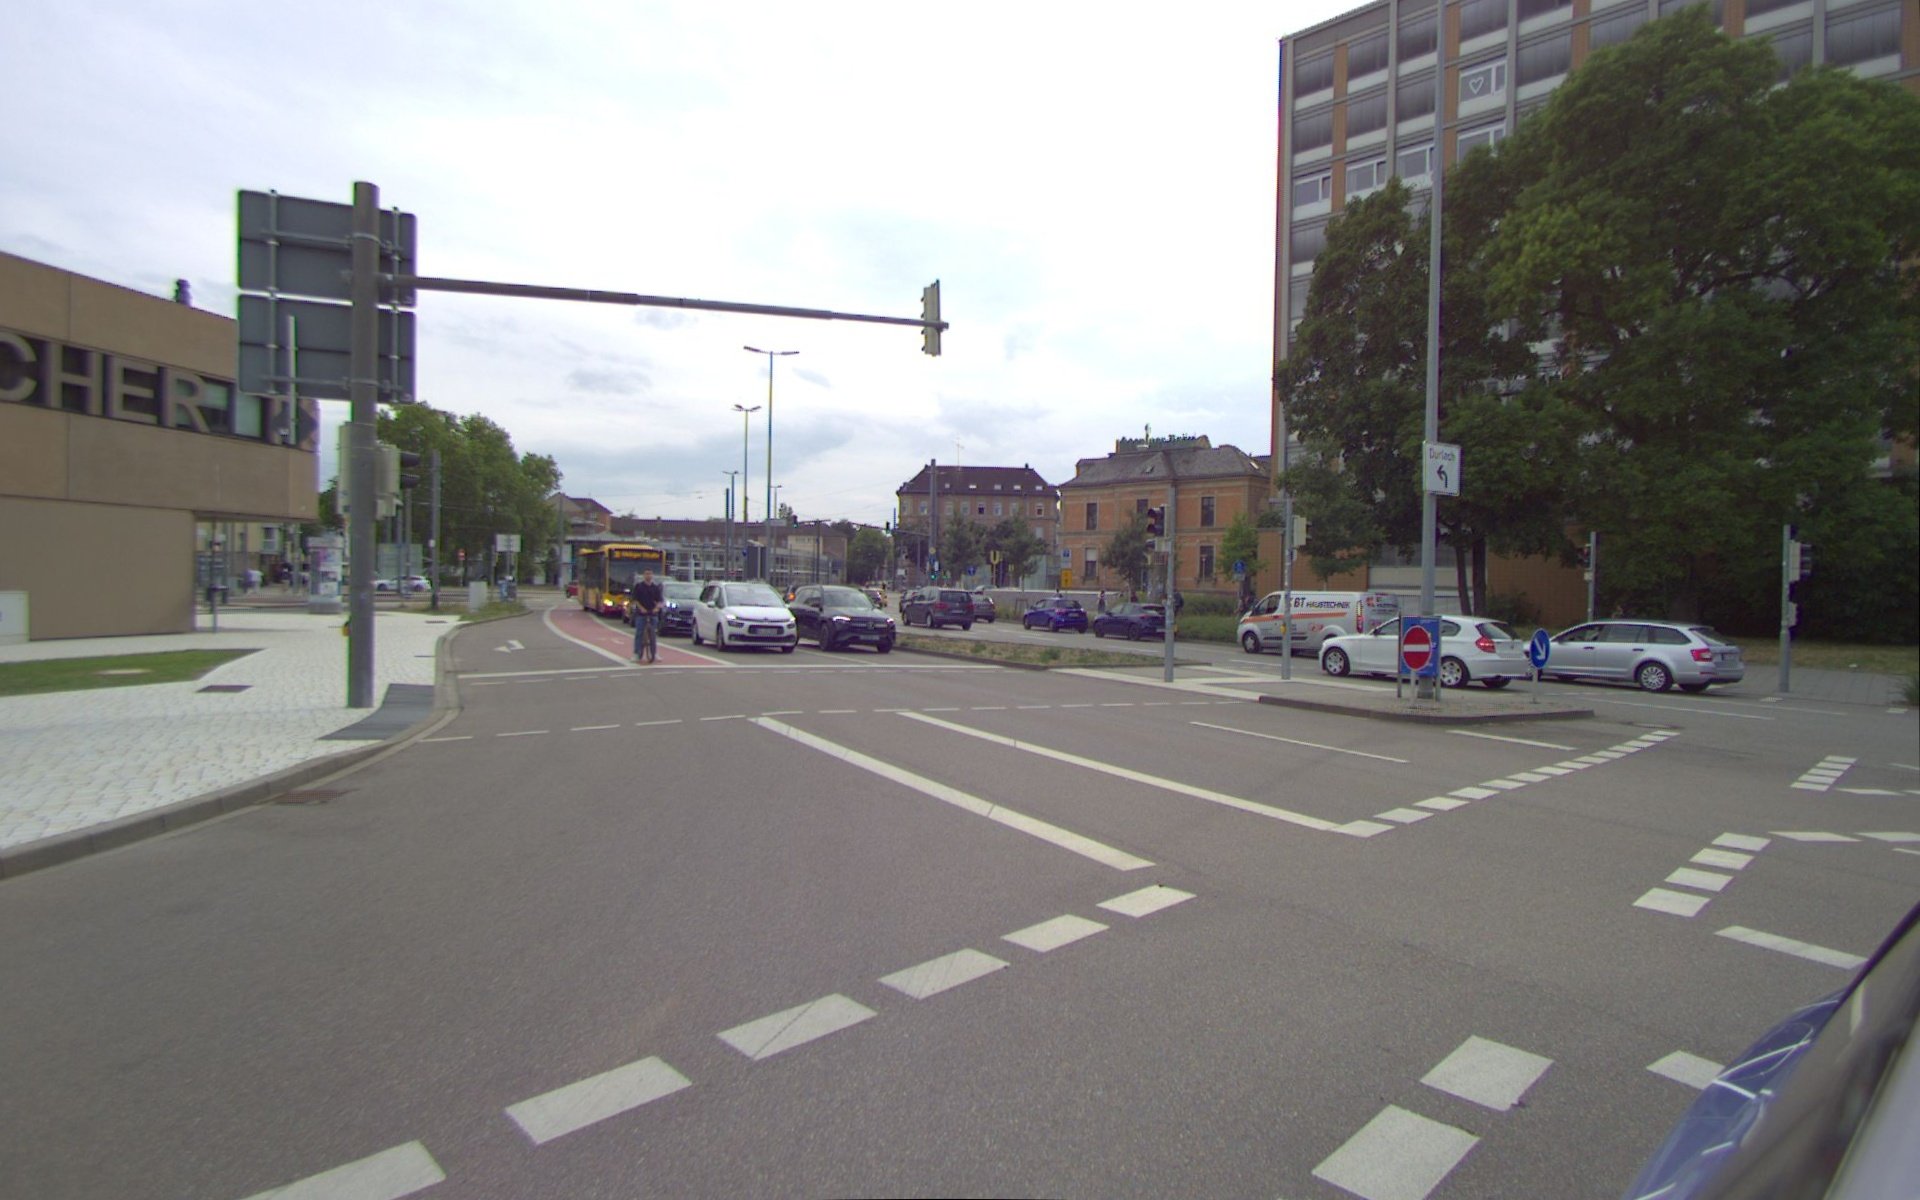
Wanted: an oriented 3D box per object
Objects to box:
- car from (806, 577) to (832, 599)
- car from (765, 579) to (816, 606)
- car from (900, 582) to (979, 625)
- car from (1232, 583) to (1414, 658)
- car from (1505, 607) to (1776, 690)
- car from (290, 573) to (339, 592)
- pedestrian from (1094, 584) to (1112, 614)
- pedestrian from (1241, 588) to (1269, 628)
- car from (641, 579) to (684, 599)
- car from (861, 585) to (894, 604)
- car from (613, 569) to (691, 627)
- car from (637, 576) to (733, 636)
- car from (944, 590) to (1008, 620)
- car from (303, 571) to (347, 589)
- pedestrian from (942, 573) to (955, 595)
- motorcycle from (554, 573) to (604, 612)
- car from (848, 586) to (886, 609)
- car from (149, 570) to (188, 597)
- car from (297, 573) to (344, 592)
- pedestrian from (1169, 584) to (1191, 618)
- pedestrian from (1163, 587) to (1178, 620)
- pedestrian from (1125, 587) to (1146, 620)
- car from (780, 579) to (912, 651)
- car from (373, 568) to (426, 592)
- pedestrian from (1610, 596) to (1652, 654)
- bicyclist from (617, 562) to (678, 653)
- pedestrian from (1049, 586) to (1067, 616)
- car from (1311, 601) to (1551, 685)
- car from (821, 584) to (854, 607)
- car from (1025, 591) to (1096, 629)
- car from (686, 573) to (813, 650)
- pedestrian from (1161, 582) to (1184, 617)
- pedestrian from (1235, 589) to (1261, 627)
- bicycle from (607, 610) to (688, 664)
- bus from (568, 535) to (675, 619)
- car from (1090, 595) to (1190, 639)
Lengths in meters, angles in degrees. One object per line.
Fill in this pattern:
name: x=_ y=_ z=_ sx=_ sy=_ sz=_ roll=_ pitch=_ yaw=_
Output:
car: x=-10.022 y=-0.821 z=71.805 sx=1.665 sy=1.422 sz=3.706 roll=2 pitch=-1 yaw=-10
car: x=-9.756 y=-0.449 z=58.240 sx=1.639 sy=1.508 sz=3.443 roll=2 pitch=0 yaw=-33
car: x=-0.942 y=0.121 z=42.676 sx=1.723 sy=1.672 sz=4.695 roll=3 pitch=-1 yaw=-22
car: x=10.534 y=0.531 z=29.828 sx=1.788 sy=1.984 sz=5.213 roll=3 pitch=-1 yaw=-27
car: x=14.535 y=0.984 z=21.924 sx=1.788 sy=1.493 sz=4.533 roll=3 pitch=-1 yaw=-30
car: x=-64.757 y=-1.764 z=101.595 sx=3.918 sy=1.705 sz=1.607 roll=3 pitch=-1 yaw=-29
pedestrian: x=7.906 y=-0.069 z=55.955 sx=0.764 sy=1.593 sz=0.814 roll=0 pitch=1 yaw=-15
pedestrian: x=12.002 y=0.303 z=41.212 sx=0.764 sy=1.593 sz=0.814 roll=-1 pitch=1 yaw=-19
car: x=-26.600 y=-0.979 z=90.353 sx=3.522 sy=1.635 sz=1.817 roll=2 pitch=-1 yaw=34
car: x=-6.800 y=-0.452 z=82.985 sx=1.673 sy=1.438 sz=3.708 roll=2 pitch=-1 yaw=-21
car: x=-11.279 y=-0.095 z=36.917 sx=1.959 sy=1.923 sz=4.297 roll=3 pitch=-1 yaw=-27
car: x=-8.510 y=0.167 z=31.041 sx=1.959 sy=1.672 sz=4.297 roll=3 pitch=-1 yaw=-27
car: x=0.823 y=0.241 z=53.600 sx=2.094 sy=1.438 sz=3.708 roll=2 pitch=-1 yaw=-21
car: x=-70.077 y=-2.201 z=111.781 sx=3.918 sy=1.705 sz=1.607 roll=3 pitch=-1 yaw=-29
pedestrian: x=-0.833 y=-1.169 z=72.440 sx=0.764 sy=1.593 sz=0.814 roll=0 pitch=1 yaw=-15
motorcycle: x=-21.287 y=-0.422 z=56.453 sx=1.959 sy=2.039 sz=4.005 roll=3 pitch=-1 yaw=-29
car: x=-6.256 y=-0.166 z=67.697 sx=1.680 sy=1.438 sz=4.008 roll=2 pitch=-1 yaw=-16
car: x=-64.177 y=-1.329 z=82.123 sx=1.960 sy=2.039 sz=4.003 roll=3 pitch=-1 yaw=-32
car: x=-66.870 y=-1.818 z=105.864 sx=3.918 sy=1.705 sz=1.607 roll=3 pitch=-1 yaw=-29
pedestrian: x=10.711 y=0.036 z=49.265 sx=0.764 sy=1.593 sz=0.814 roll=0 pitch=1 yaw=-15
pedestrian: x=10.020 y=0.173 z=48.125 sx=0.545 sy=1.555 sz=0.544 roll=0 pitch=1 yaw=29
pedestrian: x=8.754 y=0.164 z=50.528 sx=0.764 sy=1.593 sz=0.814 roll=0 pitch=1 yaw=-15
car: x=-3.102 y=0.352 z=26.654 sx=1.959 sy=1.672 sz=4.519 roll=3 pitch=-1 yaw=-27
car: x=-48.030 y=-1.720 z=86.719 sx=3.920 sy=1.878 sz=2.002 roll=3 pitch=-1 yaw=-31
pedestrian: x=19.138 y=0.702 z=28.867 sx=0.766 sy=1.593 sz=0.812 roll=-1 pitch=1 yaw=-38
bicyclist: x=-5.973 y=0.142 z=19.336 sx=0.852 sy=1.690 sz=0.881 roll=3 pitch=-1 yaw=-32
pedestrian: x=5.346 y=0.054 z=55.138 sx=0.764 sy=1.593 sz=0.814 roll=0 pitch=1 yaw=-15
car: x=9.520 y=0.816 z=20.802 sx=1.725 sy=1.476 sz=4.227 roll=3 pitch=-1 yaw=-31
car: x=-9.623 y=-0.358 z=79.214 sx=1.801 sy=1.635 sz=3.553 roll=2 pitch=-1 yaw=-19
car: x=4.349 y=0.422 z=44.386 sx=1.636 sy=1.527 sz=3.642 roll=2 pitch=-1 yaw=-20
car: x=-5.266 y=0.251 z=24.839 sx=1.959 sy=1.672 sz=4.297 roll=3 pitch=-1 yaw=-27
pedestrian: x=10.074 y=-0.035 z=48.038 sx=0.764 sy=1.593 sz=0.814 roll=0 pitch=1 yaw=-15
pedestrian: x=12.370 y=0.336 z=43.426 sx=0.764 sy=1.593 sz=0.814 roll=0 pitch=1 yaw=-15
bicycle: x=-5.988 y=0.680 z=19.305 sx=0.848 sy=0.888 sz=2.521 roll=3 pitch=-1 yaw=-31
bus: x=-15.948 y=-0.976 z=46.880 sx=3.092 sy=3.296 sz=12.434 roll=3 pitch=-1 yaw=-25
car: x=6.813 y=0.619 z=38.721 sx=1.825 sy=1.552 sz=4.010 roll=3 pitch=-1 yaw=-23
